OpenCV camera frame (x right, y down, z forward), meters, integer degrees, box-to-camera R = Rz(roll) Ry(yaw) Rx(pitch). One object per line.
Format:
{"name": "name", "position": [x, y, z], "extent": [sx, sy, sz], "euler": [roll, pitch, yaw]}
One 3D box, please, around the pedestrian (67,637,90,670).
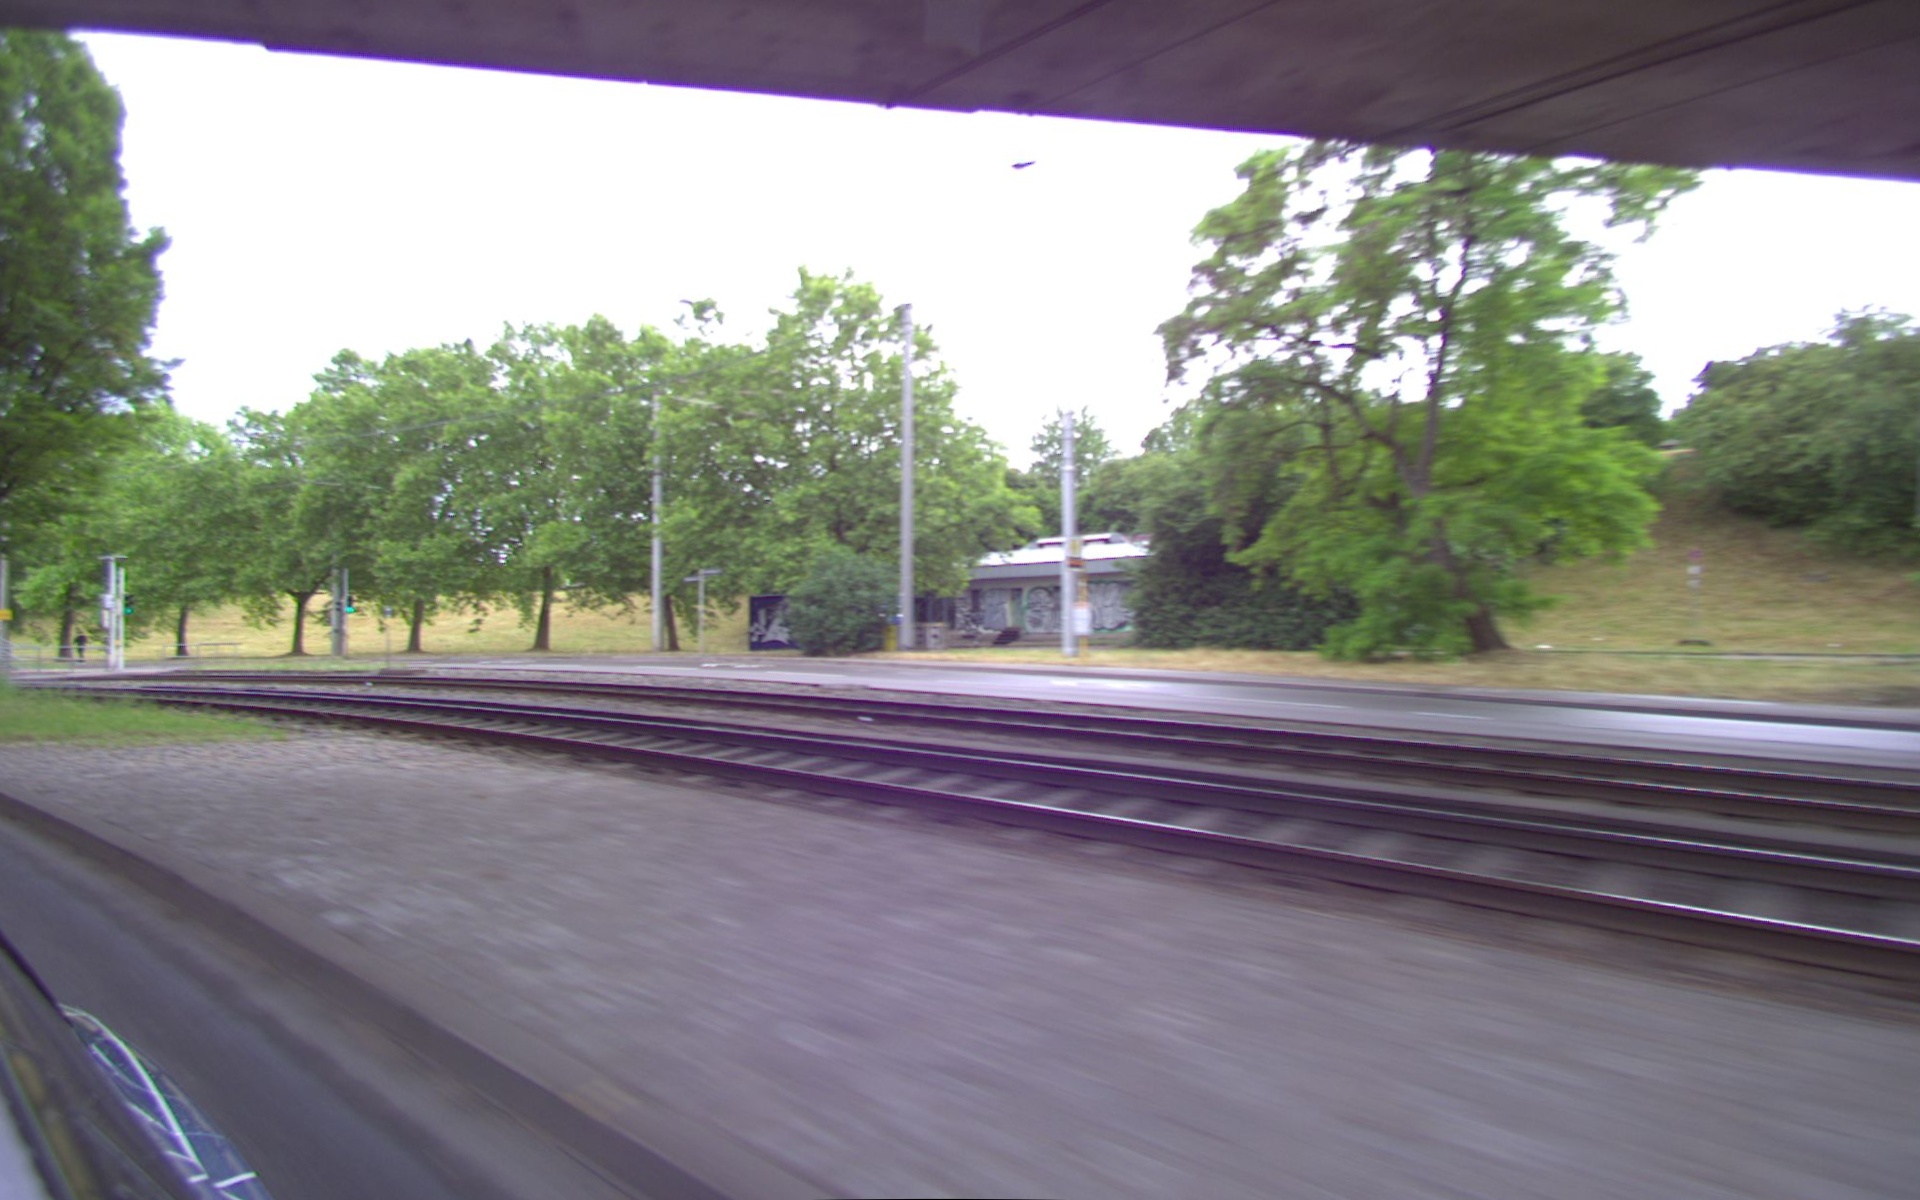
{"name": "pedestrian", "position": [-49.758, 3.005, 57.143], "extent": [0.760, 1.835, 0.724], "euler": [-2, -1, 28]}
